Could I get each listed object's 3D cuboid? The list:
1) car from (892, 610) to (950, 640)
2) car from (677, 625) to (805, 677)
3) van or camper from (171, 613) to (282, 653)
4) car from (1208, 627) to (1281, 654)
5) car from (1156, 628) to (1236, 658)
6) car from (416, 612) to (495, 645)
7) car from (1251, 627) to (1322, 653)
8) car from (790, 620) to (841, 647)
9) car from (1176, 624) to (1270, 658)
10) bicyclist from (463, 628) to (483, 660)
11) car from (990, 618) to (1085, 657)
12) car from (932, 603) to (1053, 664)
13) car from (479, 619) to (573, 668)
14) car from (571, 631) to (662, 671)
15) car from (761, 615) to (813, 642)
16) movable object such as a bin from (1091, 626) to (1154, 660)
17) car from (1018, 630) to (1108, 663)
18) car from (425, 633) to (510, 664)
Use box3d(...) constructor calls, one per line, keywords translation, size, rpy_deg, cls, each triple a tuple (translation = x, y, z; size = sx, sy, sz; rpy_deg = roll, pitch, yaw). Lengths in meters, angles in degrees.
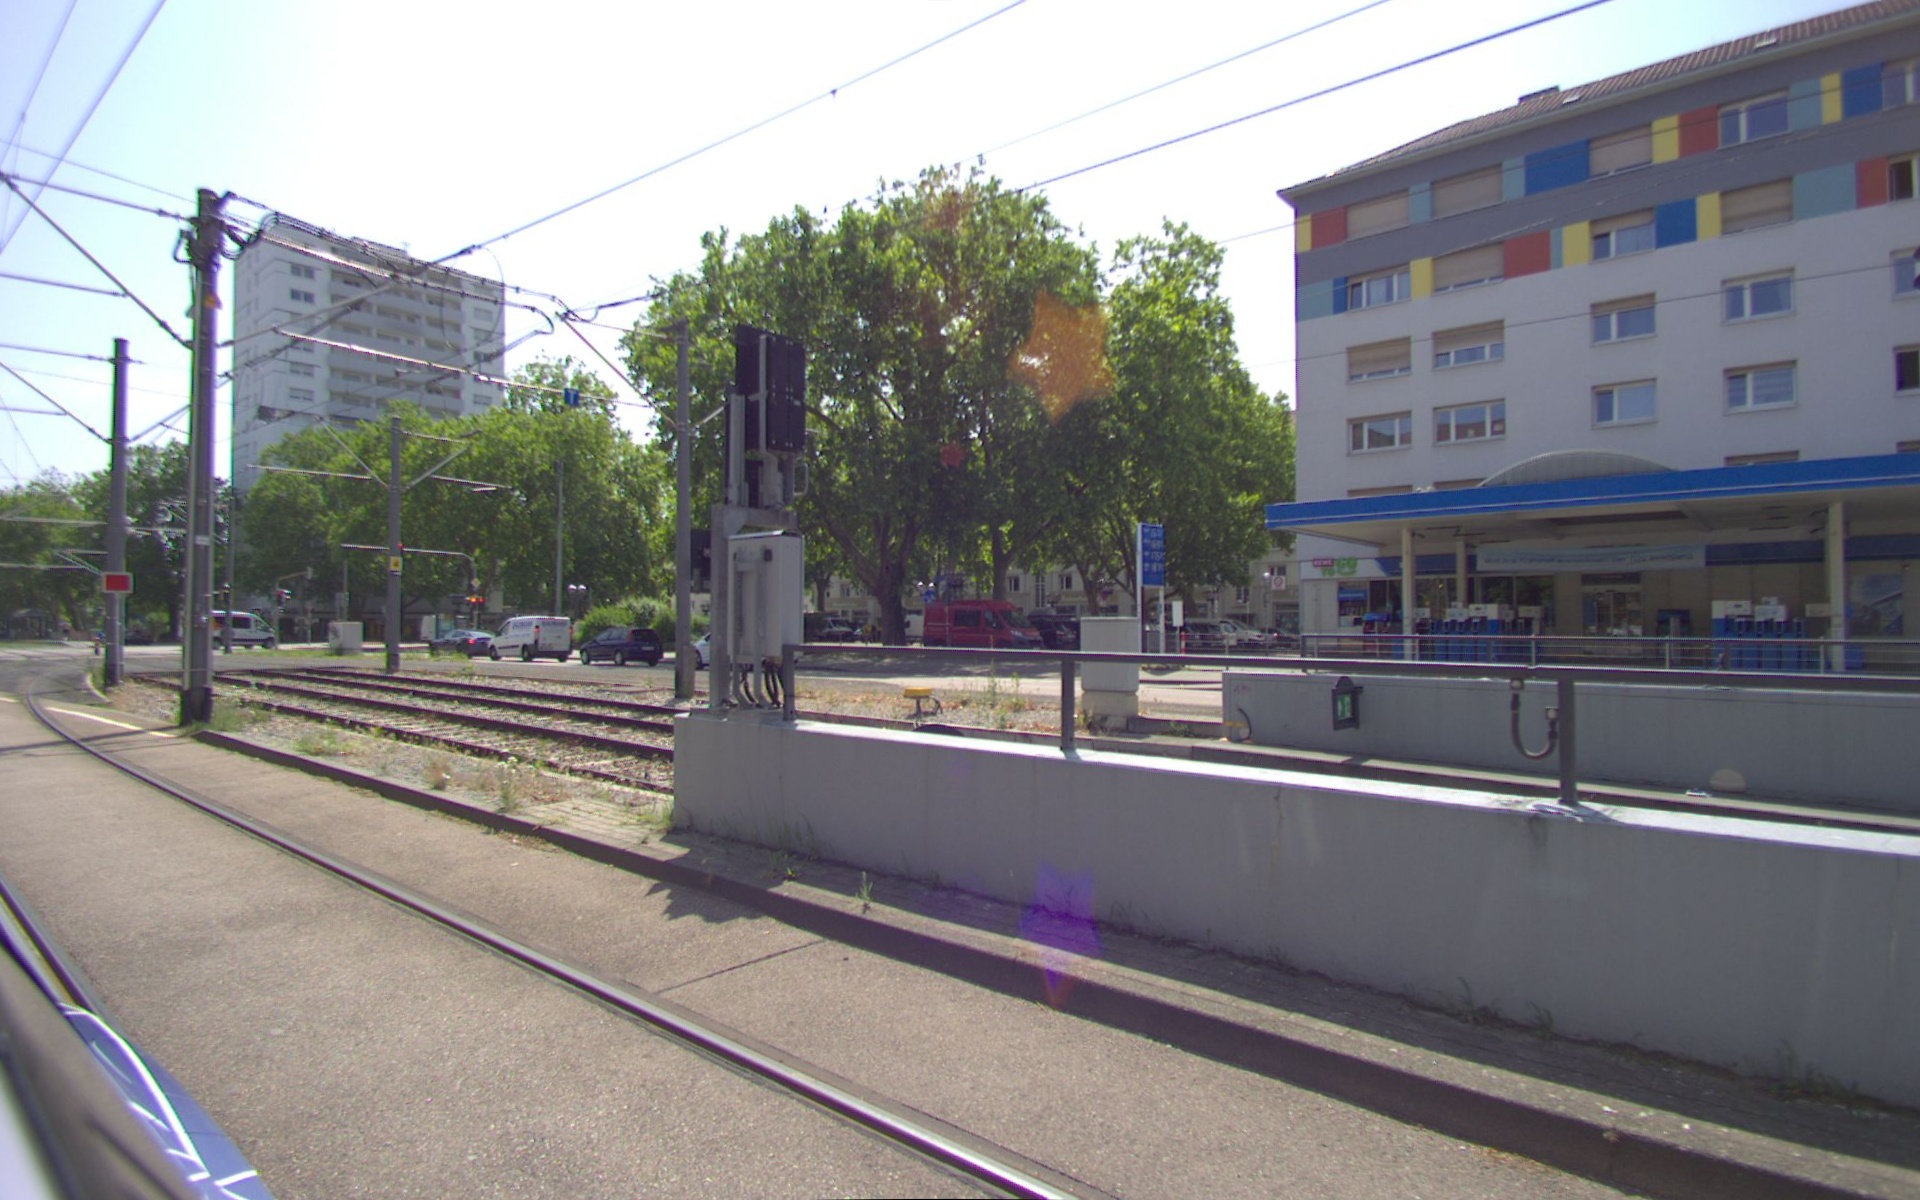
box3d(translation=(-3.607, 2.331, 94.579), size=(2.106, 2.680, 5.634), rpy_deg=(-2, -2, 40), cls="car")
box3d(translation=(-7.358, 1.671, 33.776), size=(4.601, 1.638, 1.827), rpy_deg=(-2, -3, 42), cls="car")
box3d(translation=(-48.073, 2.203, 66.554), size=(2.055, 2.480, 5.869), rpy_deg=(-1, -2, 17), cls="van or camper")
box3d(translation=(17.323, 2.446, 61.698), size=(3.993, 1.560, 1.648), rpy_deg=(-1, -2, 37), cls="car")
box3d(translation=(13.420, 2.427, 57.590), size=(3.995, 1.622, 1.845), rpy_deg=(-2, -2, 38), cls="car")
box3d(translation=(-42.979, 2.428, 86.444), size=(2.059, 2.657, 6.597), rpy_deg=(-1, -2, 16), cls="car")
box3d(translation=(21.327, 2.609, 66.225), size=(3.997, 1.623, 1.973), rpy_deg=(-1, -2, 40), cls="car")
box3d(translation=(-11.743, 2.709, 81.999), size=(3.998, 2.099, 1.973), rpy_deg=(-2, -2, 41), cls="car")
box3d(translation=(15.677, 2.444, 60.454), size=(5.097, 2.006, 1.900), rpy_deg=(-2, -3, 36), cls="car")
box3d(translation=(-25.818, 2.322, 53.654), size=(0.867, 1.698, 0.632), rpy_deg=(-2, -2, 38), cls="bicyclist")
box3d(translation=(3.541, 1.701, 46.502), size=(3.998, 1.733, 1.973), rpy_deg=(-2, -2, 41), cls="car")
box3d(translation=(1.313, 1.360, 42.453), size=(4.978, 2.411, 1.828), rpy_deg=(0, -2, 40), cls="car")
box3d(translation=(-18.842, 1.858, 43.849), size=(4.800, 2.006, 1.759), rpy_deg=(-2, -3, 40), cls="car")
box3d(translation=(-13.207, 1.946, 38.849), size=(3.779, 1.431, 1.580), rpy_deg=(-2, -4, 41), cls="car")
box3d(translation=(-13.644, 2.239, 79.626), size=(3.998, 2.099, 1.973), rpy_deg=(-2, -3, 41), cls="car")
box3d(translation=(7.996, 2.098, 49.701), size=(1.985, 1.623, 2.689), rpy_deg=(-1, -2, 40), cls="movable object such as a bin")
box3d(translation=(4.967, 2.219, 48.867), size=(3.997, 1.538, 1.844), rpy_deg=(-2, -3, 41), cls="car")
box3d(translation=(-23.329, 2.281, 47.877), size=(4.624, 1.369, 1.927), rpy_deg=(-2, -3, 40), cls="car")
